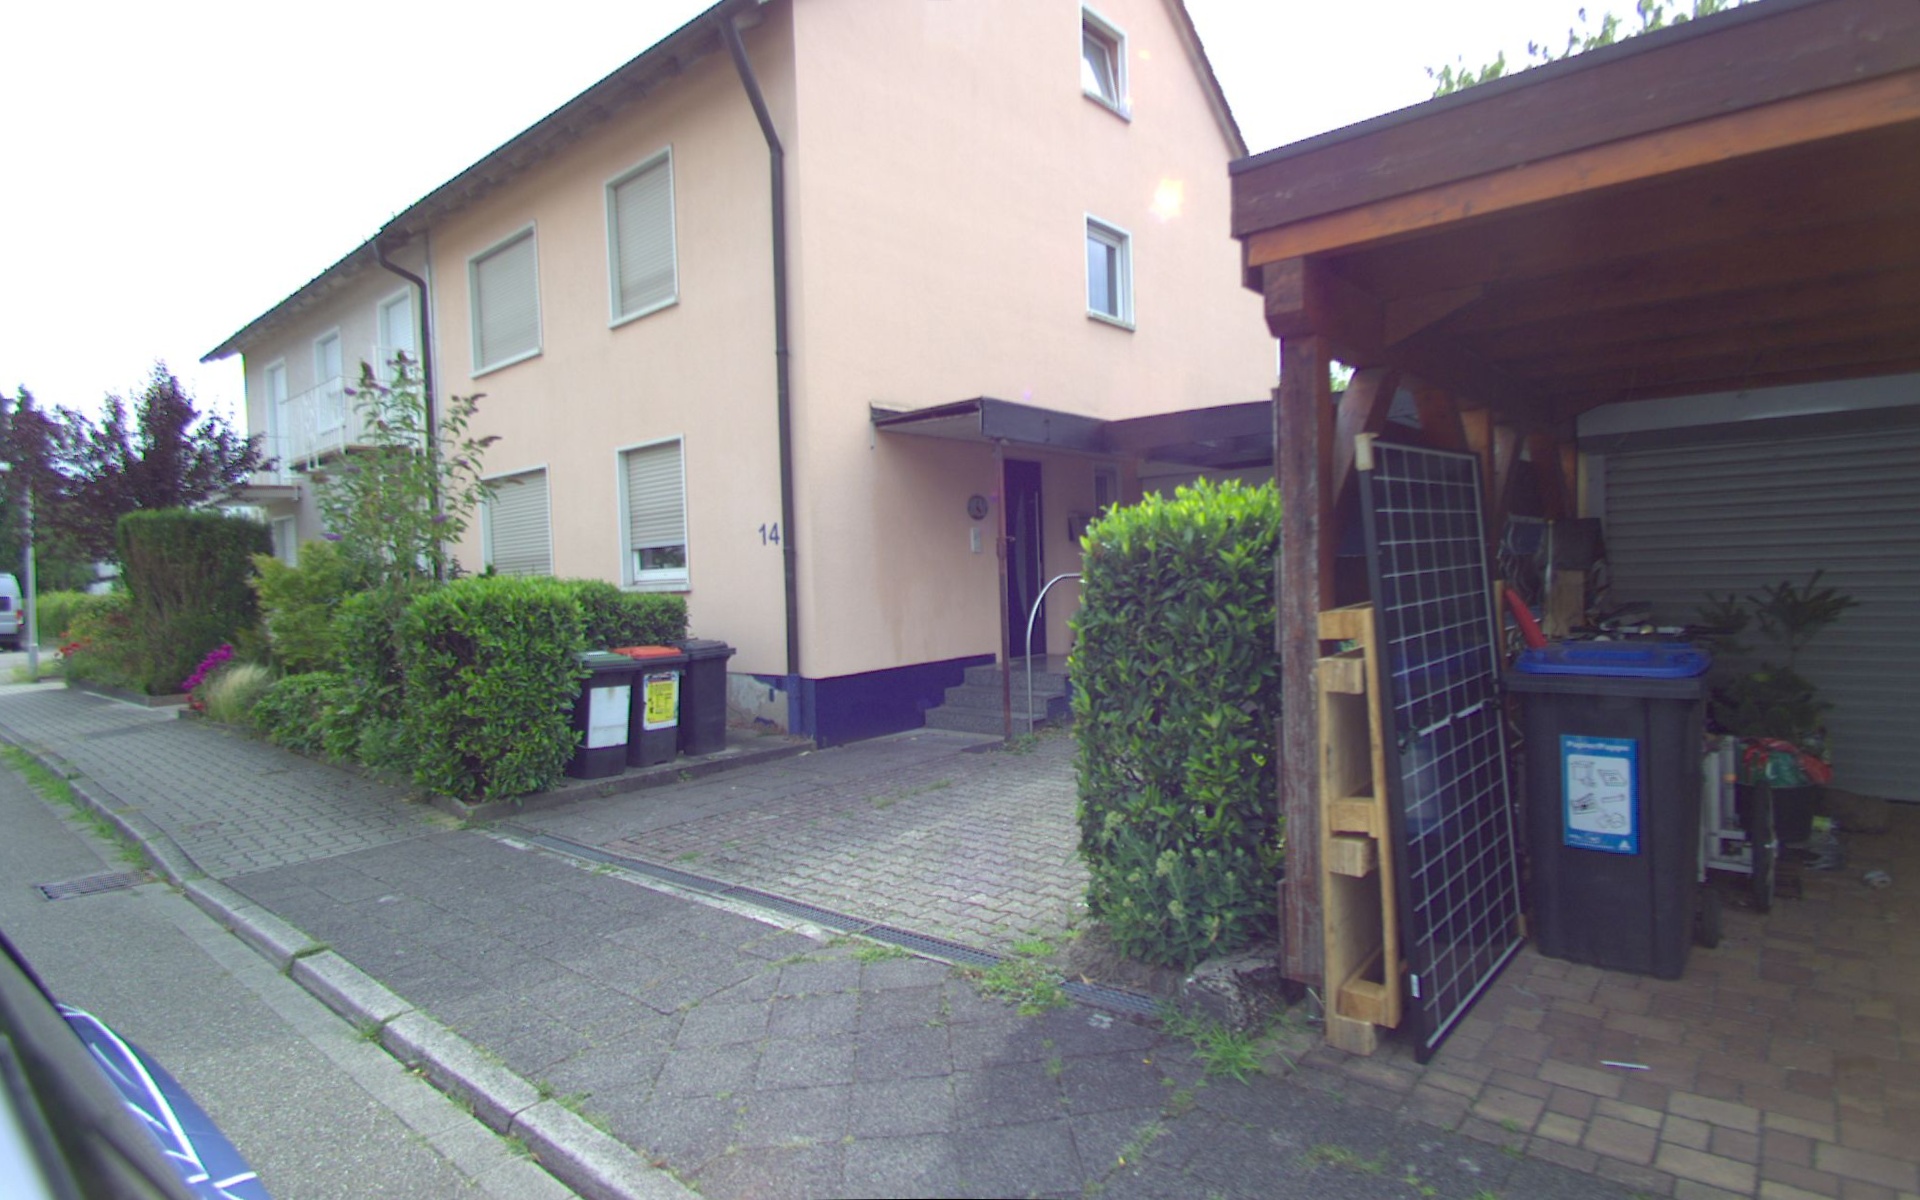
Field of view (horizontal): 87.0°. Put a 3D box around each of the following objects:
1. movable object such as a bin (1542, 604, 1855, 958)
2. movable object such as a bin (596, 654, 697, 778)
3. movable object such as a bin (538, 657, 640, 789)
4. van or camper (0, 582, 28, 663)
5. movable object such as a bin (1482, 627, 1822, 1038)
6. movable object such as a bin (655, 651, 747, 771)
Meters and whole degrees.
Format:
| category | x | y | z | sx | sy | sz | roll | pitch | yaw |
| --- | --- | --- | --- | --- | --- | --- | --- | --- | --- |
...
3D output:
| category | x | y | z | sx | sy | sz | roll | pitch | yaw |
| --- | --- | --- | --- | --- | --- | --- | --- | --- | --- |
| movable object such as a bin | 2.795 | 0.598 | 3.848 | 0.877 | 1.138 | 0.696 | -1 | 0 | 41 |
| movable object such as a bin | -2.470 | 0.894 | 7.976 | 0.534 | 0.886 | 0.532 | -2 | 1 | 41 |
| movable object such as a bin | -2.751 | 0.892 | 7.511 | 0.530 | 0.888 | 0.490 | -2 | 1 | 41 |
| van or camper | -35.499 | 0.841 | 36.410 | 5.746 | 2.755 | 2.316 | -1 | 1 | 42 |
| movable object such as a bin | 2.261 | 0.654 | 3.306 | 0.822 | 1.079 | 0.697 | -1 | 2 | 41 |
| movable object such as a bin | -2.140 | 0.893 | 8.365 | 0.583 | 0.910 | 0.475 | -1 | 0 | 41 |
